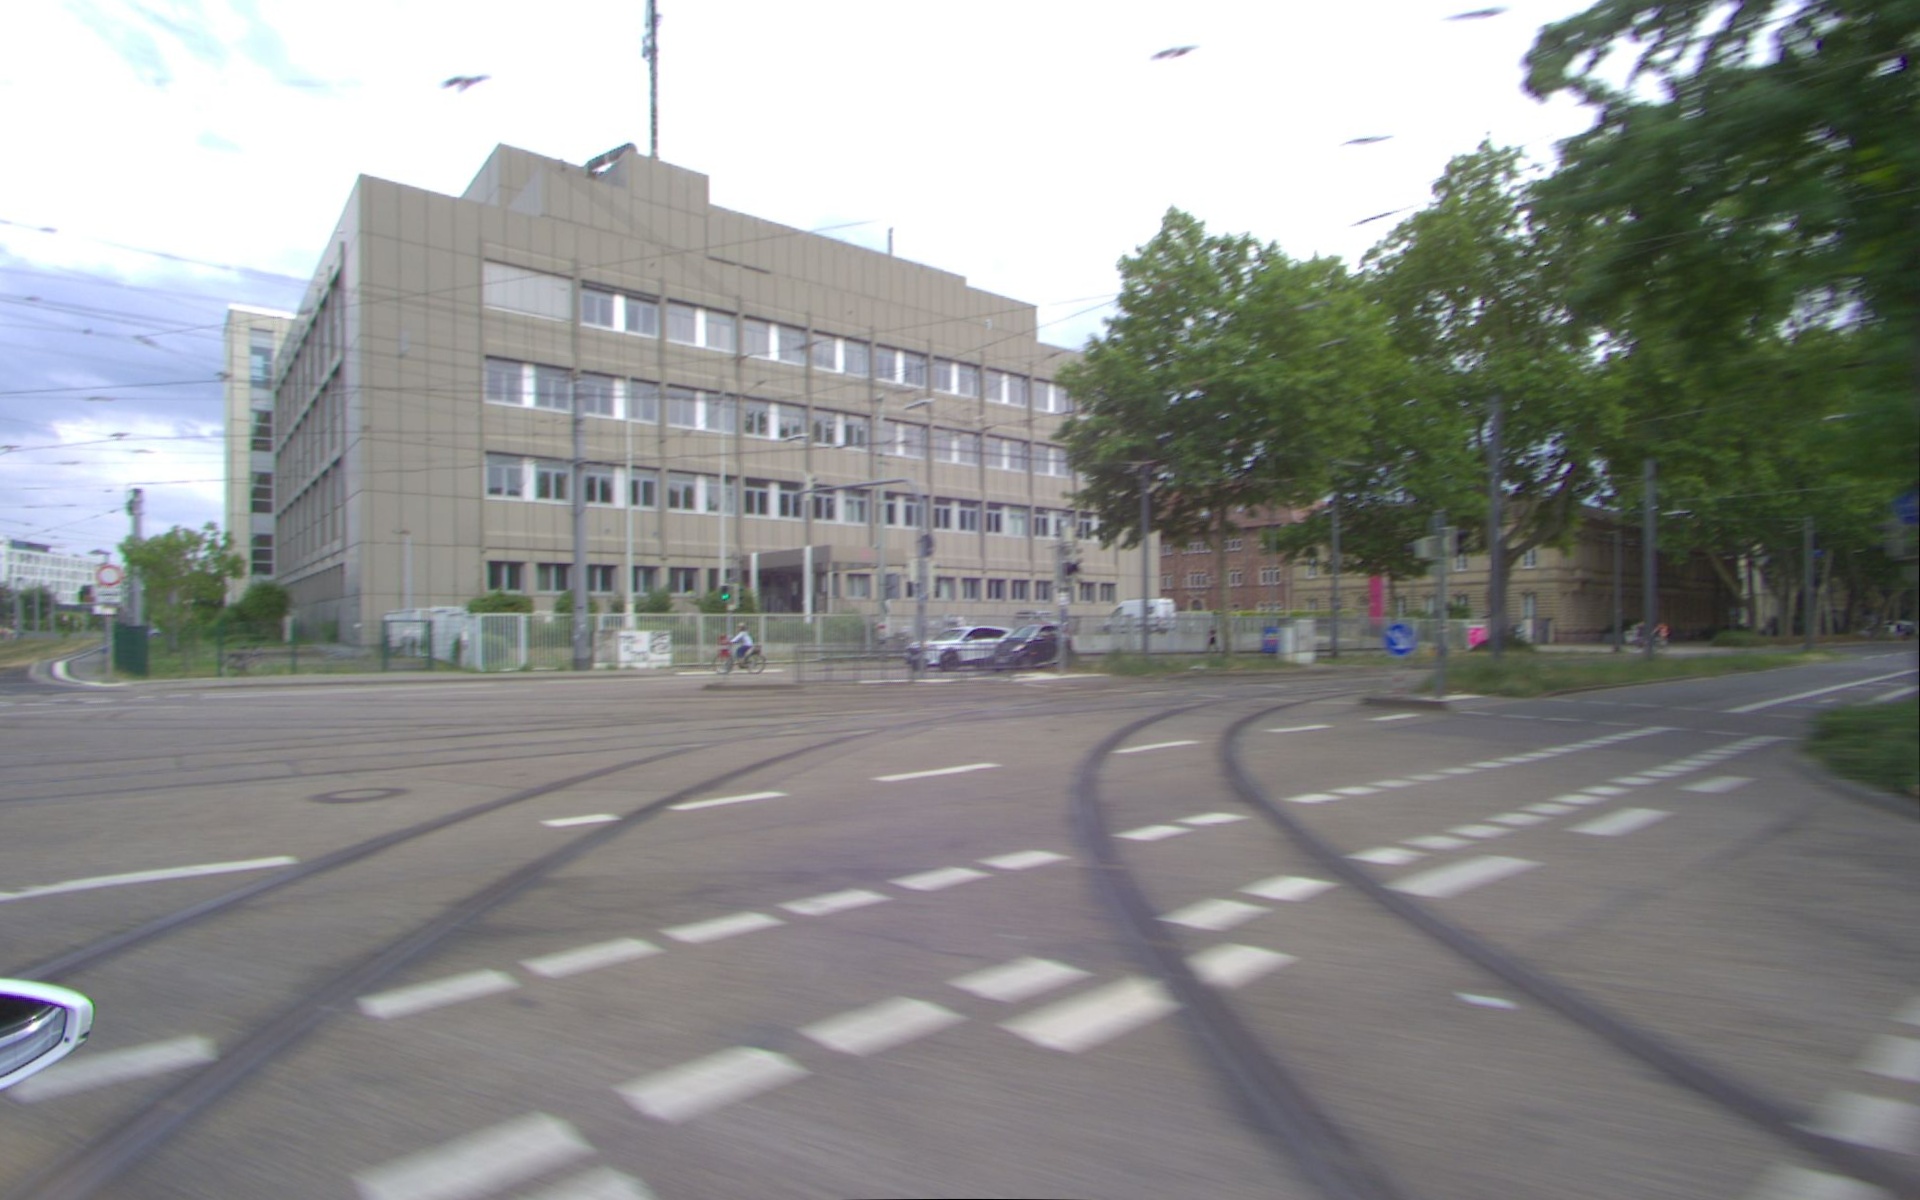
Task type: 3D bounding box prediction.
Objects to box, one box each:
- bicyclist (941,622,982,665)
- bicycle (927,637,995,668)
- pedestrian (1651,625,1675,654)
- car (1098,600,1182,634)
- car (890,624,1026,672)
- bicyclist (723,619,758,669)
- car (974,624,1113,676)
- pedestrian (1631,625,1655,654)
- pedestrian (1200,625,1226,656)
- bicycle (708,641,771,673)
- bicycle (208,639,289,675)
[{"bbox_3d":[0.042,1.616,37.245,1.312,1.570,0.797,0,-1,-36],"label":"bicyclist"},{"bbox_3d":[0.050,1.946,37.267,2.531,1.100,0.797,1,-1,-36],"label":"bicycle"},{"bbox_3d":[45.470,2.554,64.759,1.234,1.889,0.832,1,-1,-31],"label":"pedestrian"},{"bbox_3d":[13.346,1.274,74.519,2.542,2.429,5.846,1,-2,-42],"label":"car"},{"bbox_3d":[-0.034,1.584,33.995,4.369,1.524,1.985,1,-2,-38],"label":"car"},{"bbox_3d":[-7.739,1.548,35.296,1.160,1.723,0.802,1,-1,-13],"label":"bicyclist"},{"bbox_3d":[2.749,1.574,32.573,4.365,1.587,1.825,1,-1,-35],"label":"car"},{"bbox_3d":[44.702,2.579,65.541,1.159,1.889,0.832,1,-1,-30],"label":"pedestrian"},{"bbox_3d":[13.298,2.135,52.674,0.967,1.590,0.878,0,-1,-33],"label":"pedestrian"},{"bbox_3d":[-7.750,2.001,35.304,2.144,1.100,0.802,1,-1,-12],"label":"bicycle"},{"bbox_3d":[-22.173,1.772,31.233,2.117,0.993,0.634,-3,-1,4],"label":"bicycle"}]
